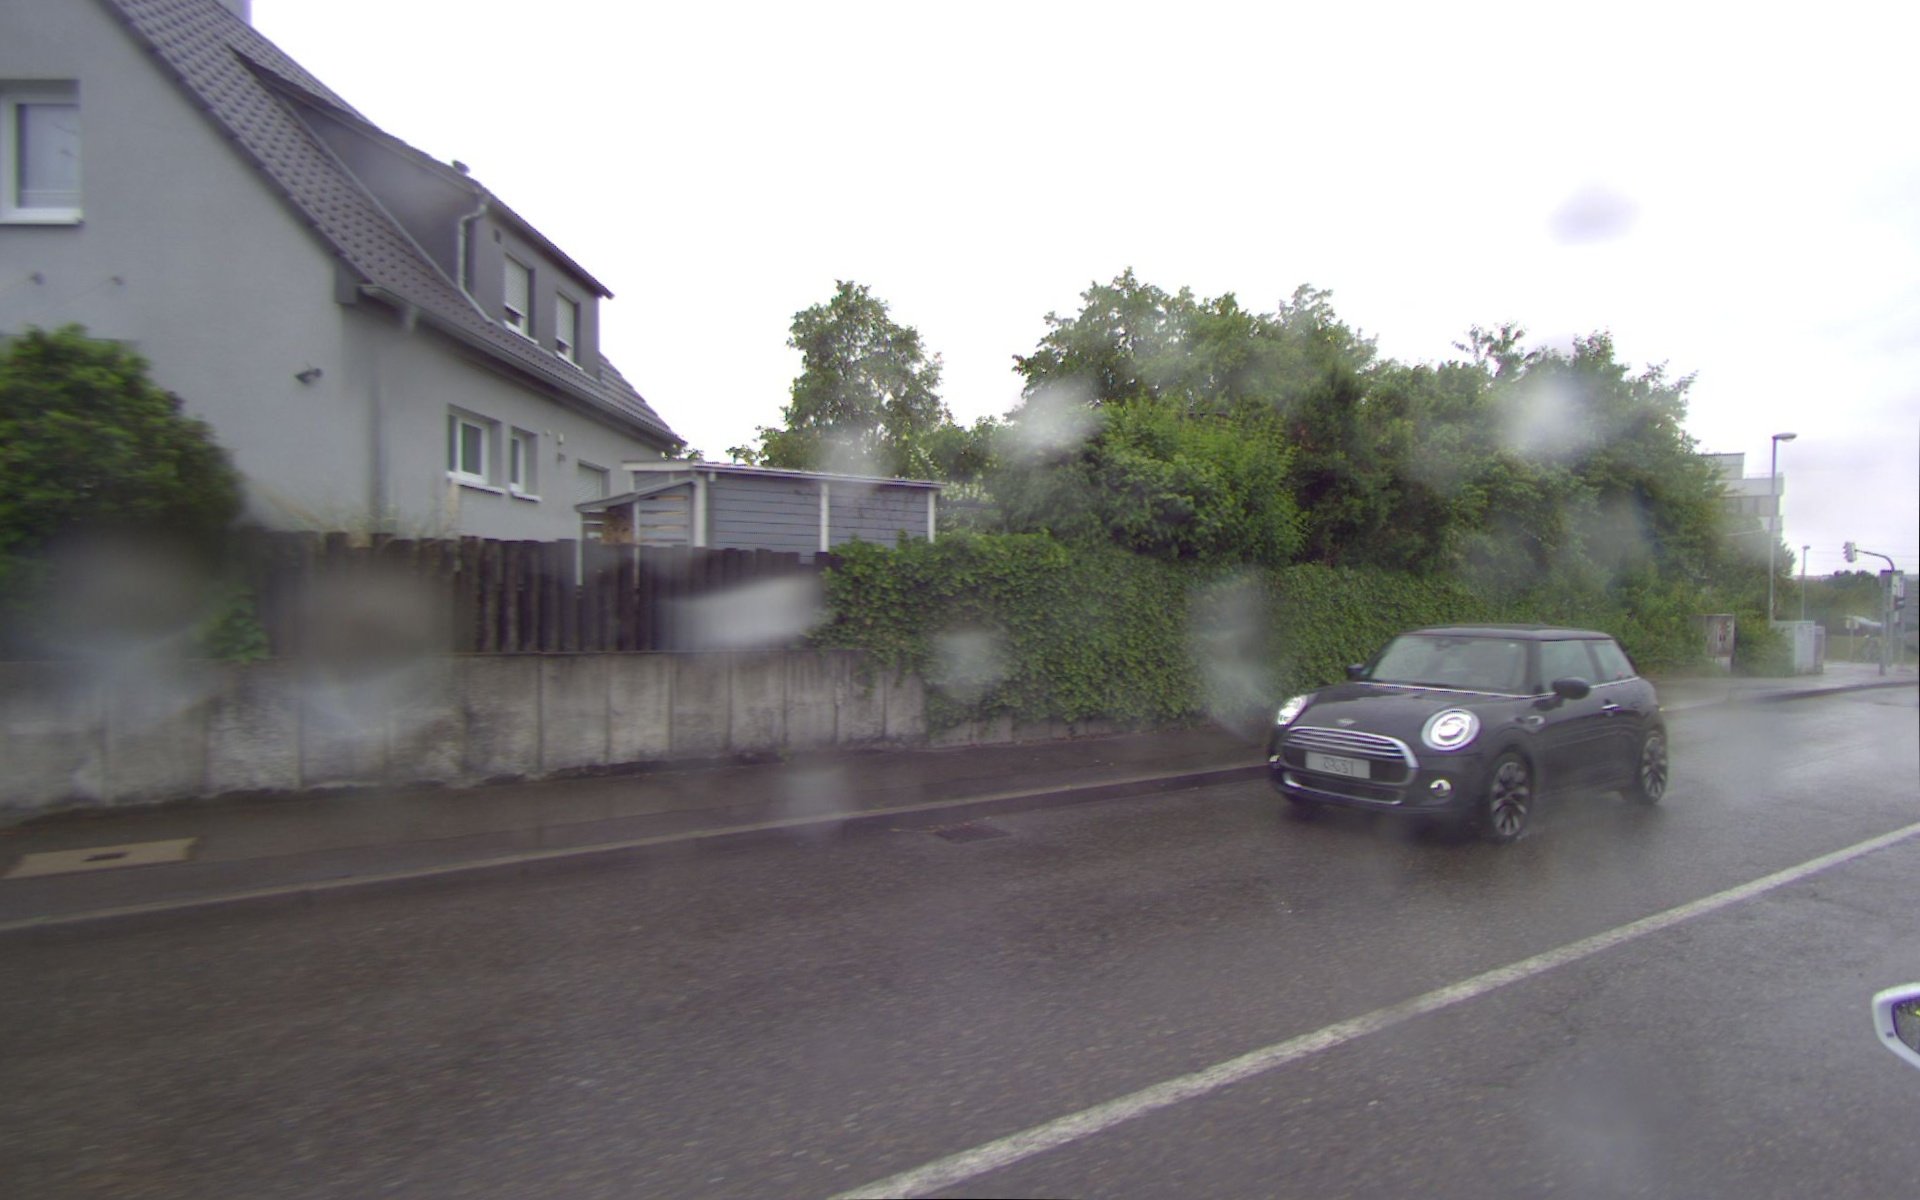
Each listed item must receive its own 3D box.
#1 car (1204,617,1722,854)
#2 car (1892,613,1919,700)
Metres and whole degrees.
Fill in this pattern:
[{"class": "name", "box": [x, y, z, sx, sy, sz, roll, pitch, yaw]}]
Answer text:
[{"class": "car", "box": [4.308, 0.902, 8.308, 4.580, 1.423, 1.979, 2, -1, -36]}, {"class": "car", "box": [20.907, 1.177, 20.496, 4.374, 1.690, 1.979, 2, 0, -36]}]
